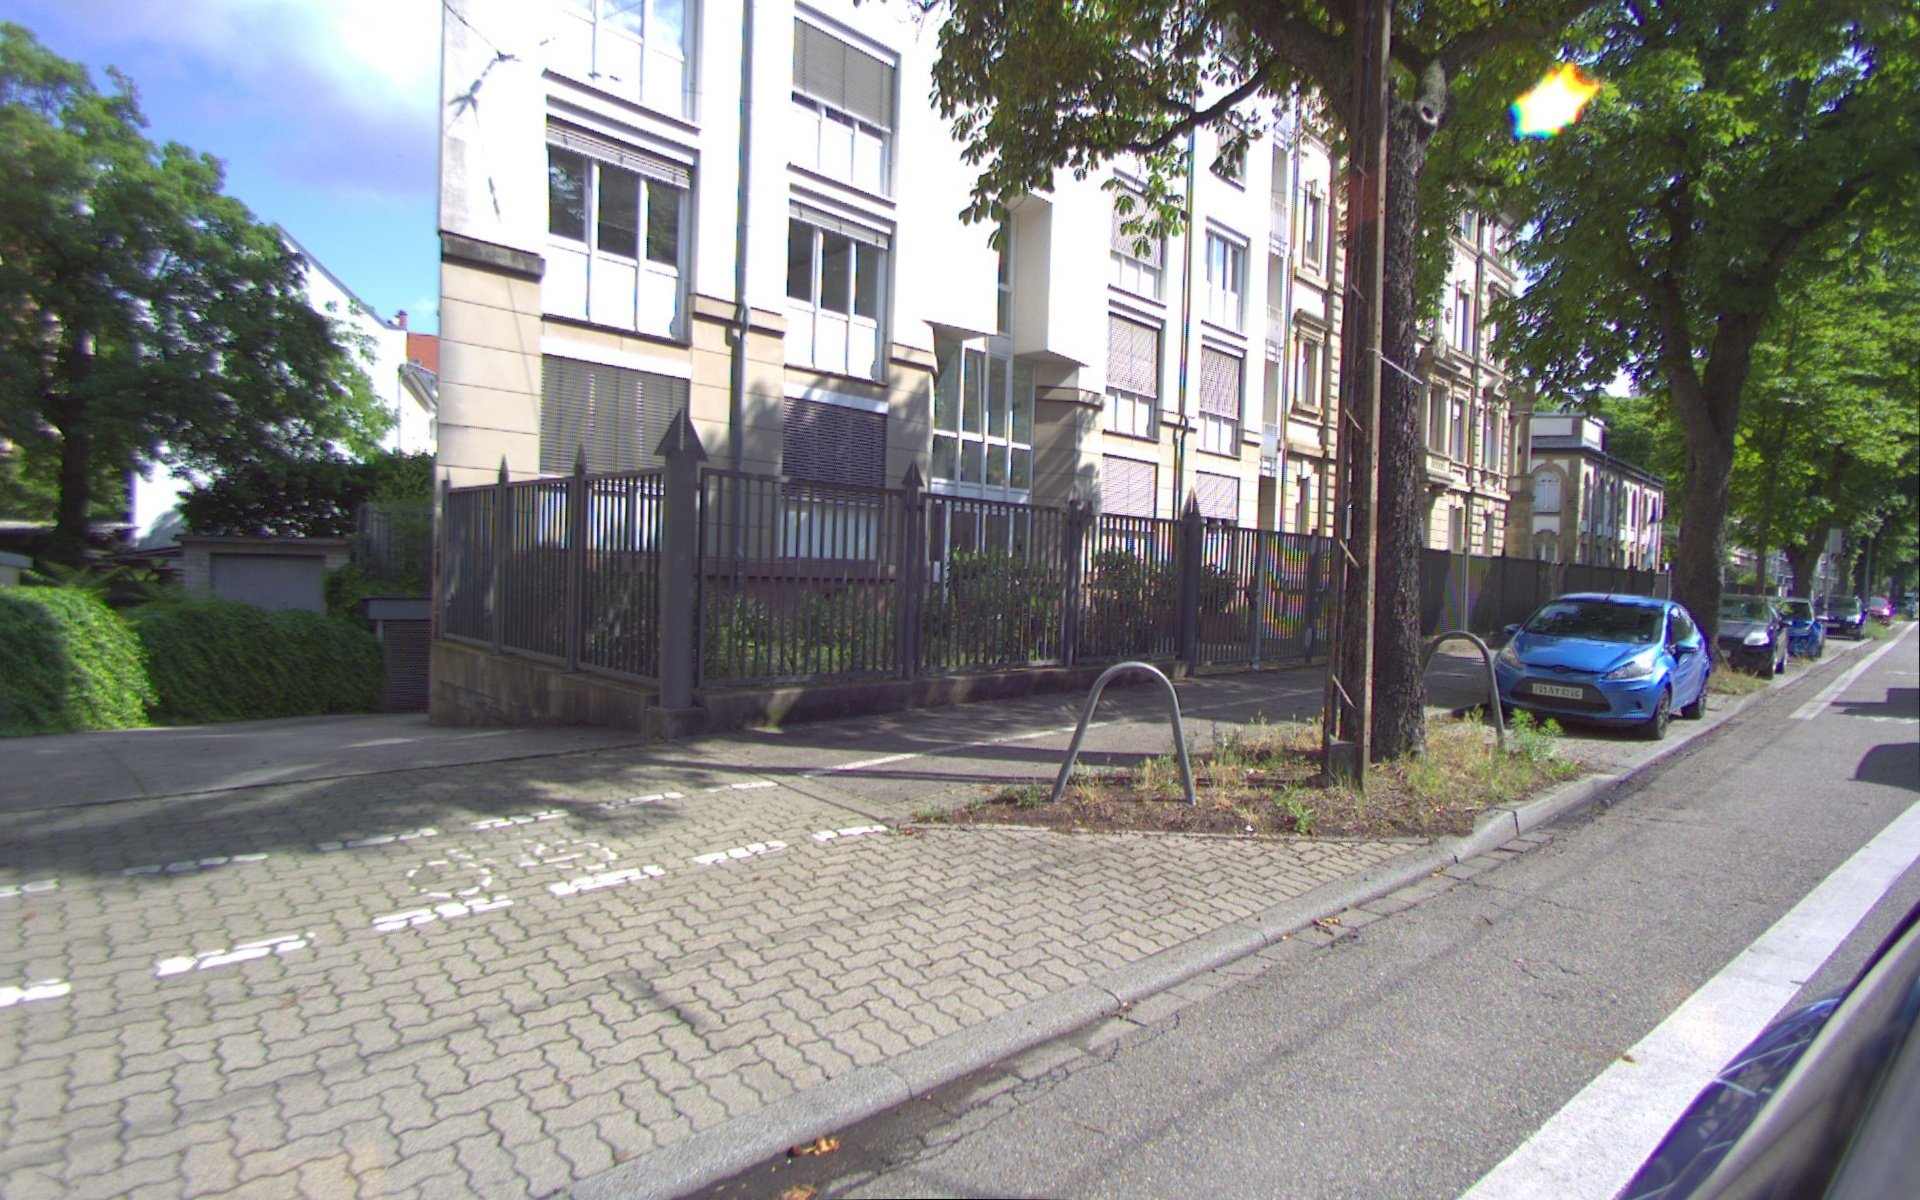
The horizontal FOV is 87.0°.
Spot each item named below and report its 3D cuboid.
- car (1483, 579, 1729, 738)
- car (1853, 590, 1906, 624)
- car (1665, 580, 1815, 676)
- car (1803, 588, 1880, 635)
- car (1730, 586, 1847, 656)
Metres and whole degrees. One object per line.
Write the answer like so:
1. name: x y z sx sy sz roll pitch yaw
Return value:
1. car: 7.644 0.560 11.847 1.639 1.472 3.639 6 4 44
2. car: 49.184 0.356 54.109 4.131 1.591 1.772 0 5 -44
3. car: 14.755 0.466 19.081 3.562 1.526 1.643 0 5 -44
4. car: 33.293 0.385 38.178 4.131 1.549 1.772 0 5 -44
5. car: 20.348 0.454 24.801 3.861 1.469 1.722 0 5 -44
